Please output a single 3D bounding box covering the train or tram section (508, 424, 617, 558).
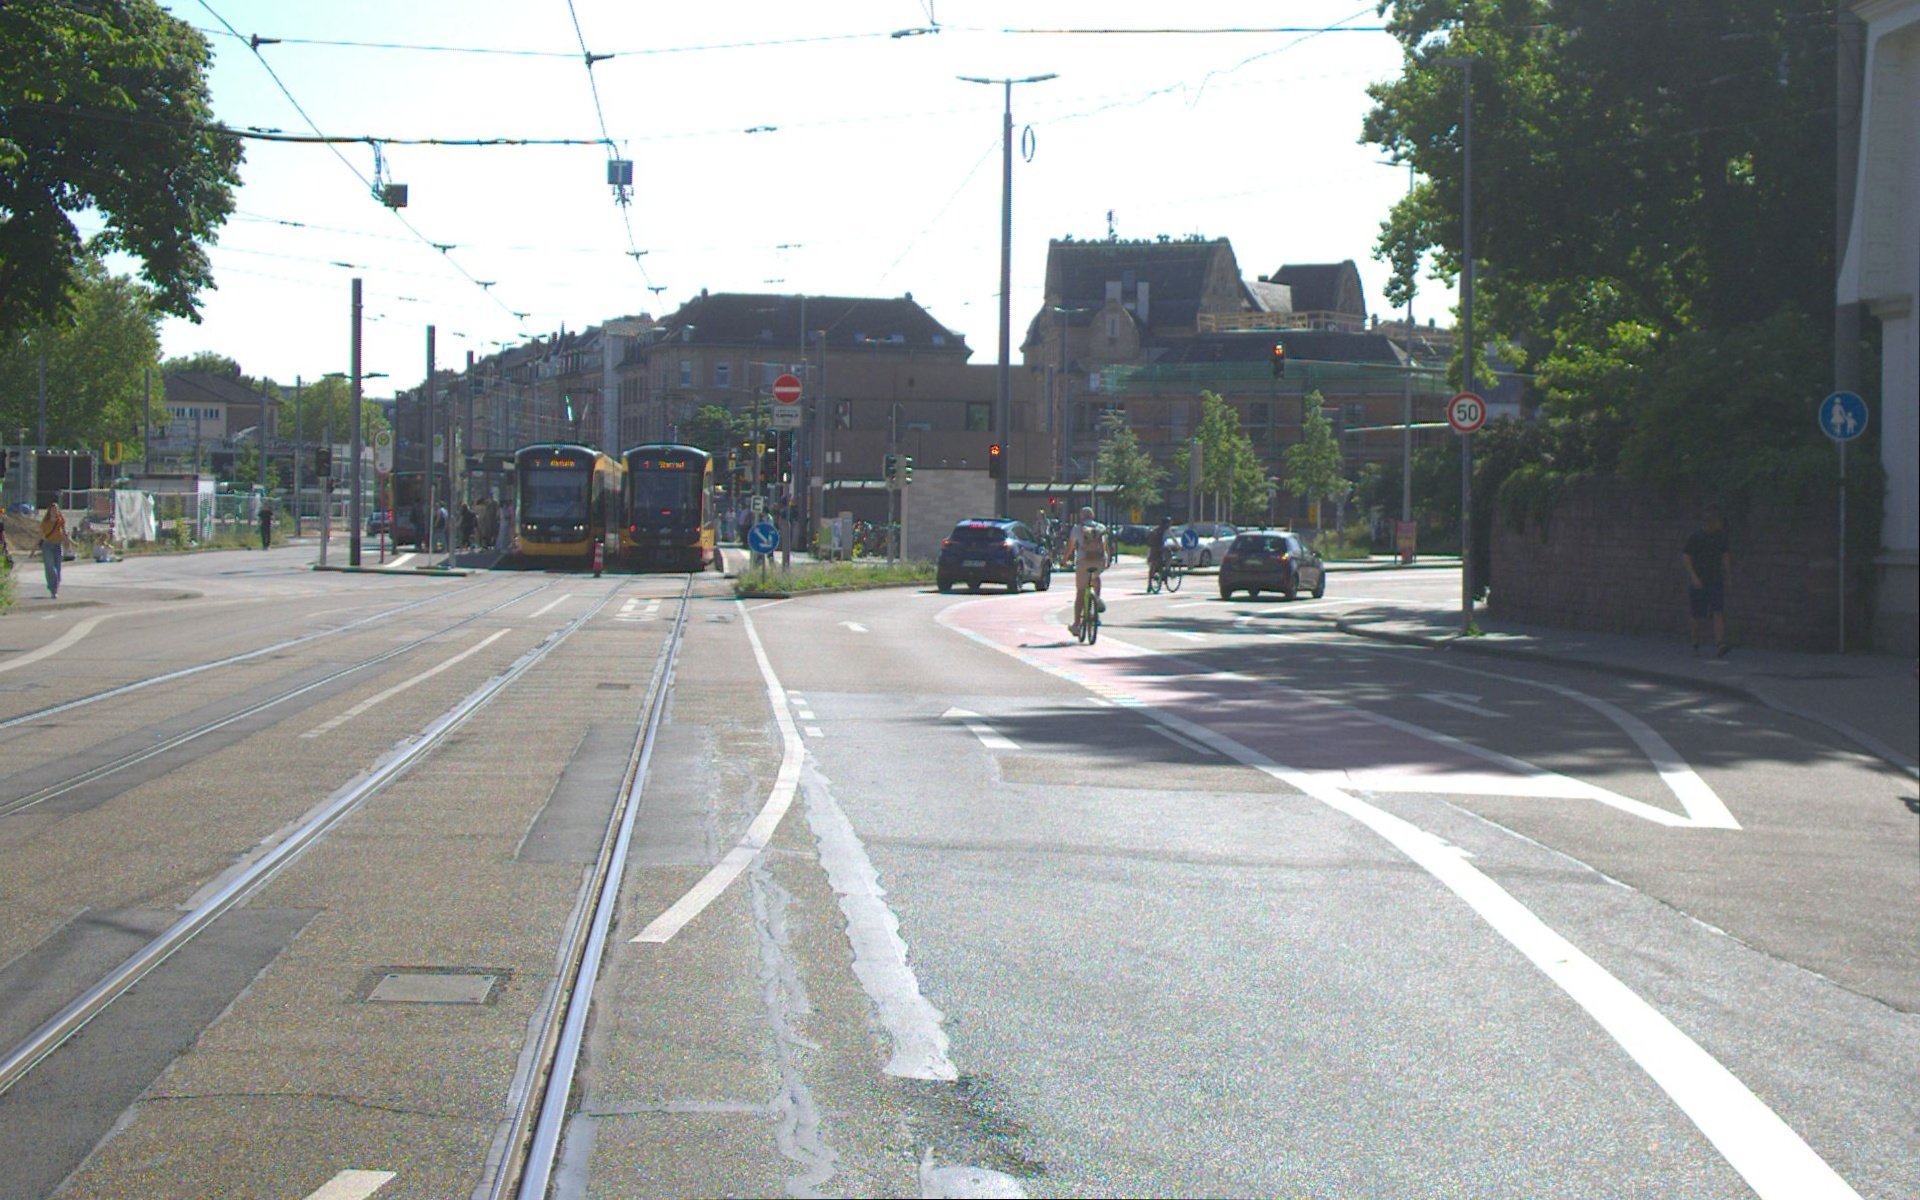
[{"bbox_3d":[-11.601,-3.264,101.291,2.741,3.638,13.789,1,2,-5],"label":"train or tram section"}]

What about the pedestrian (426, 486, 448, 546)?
[{"bbox_3d":[-16.103,-2.580,105.869,0.626,1.821,0.662,1,1,-5],"label":"pedestrian"}]

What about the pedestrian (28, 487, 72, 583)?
[{"bbox_3d":[-16.279,-1.171,61.491,0.635,1.691,0.819,-1,2,-23],"label":"pedestrian"}]

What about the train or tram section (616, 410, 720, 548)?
[{"bbox_3d":[-8.389,-3.502,98.768,2.741,3.638,13.789,1,2,-5],"label":"train or tram section"}]

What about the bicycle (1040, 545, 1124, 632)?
[{"bbox_3d":[1.654,-0.169,46.347,0.705,1.101,1.716,3,2,16],"label":"bicycle"}]

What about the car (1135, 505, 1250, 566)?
[{"bbox_3d":[6.652,-1.828,98.025,1.704,1.638,3.706,3,2,31],"label":"car"}]

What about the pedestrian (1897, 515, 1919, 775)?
[{"bbox_3d":[6.735,0.293,23.181,0.606,1.740,0.718,-3,2,4],"label":"pedestrian"}]

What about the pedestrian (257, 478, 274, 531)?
[{"bbox_3d":[-26.572,-3.657,131.573,0.525,2.007,0.522,1,1,0],"label":"pedestrian"}]

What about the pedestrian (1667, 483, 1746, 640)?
[{"bbox_3d":[9.204,-0.484,42.416,0.637,1.897,1.135,-1,2,-3],"label":"pedestrian"}]

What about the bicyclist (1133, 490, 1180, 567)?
[{"bbox_3d":[4.475,-1.626,78.208,0.705,1.694,0.986,4,3,21],"label":"bicyclist"}]

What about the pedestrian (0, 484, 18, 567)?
[{"bbox_3d":[-19.750,-1.544,70.649,0.618,1.691,0.679,1,2,-3],"label":"pedestrian"}]

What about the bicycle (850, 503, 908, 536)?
[{"bbox_3d":[-2.779,-2.759,118.214,1.933,1.099,0.599,1,2,-6],"label":"bicycle"}]

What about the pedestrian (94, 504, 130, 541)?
[{"bbox_3d":[-24.263,-2.226,98.339,0.897,1.043,0.655,1,2,-3],"label":"pedestrian"}]

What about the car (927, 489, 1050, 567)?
[{"bbox_3d":[0.658,-1.587,75.354,1.790,1.599,3.710,3,2,15],"label":"car"}]

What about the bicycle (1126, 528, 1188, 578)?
[{"bbox_3d":[4.495,-1.079,78.363,0.705,1.051,2.311,4,3,21],"label":"bicycle"}]

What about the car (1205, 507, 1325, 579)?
[{"bbox_3d":[6.836,-1.289,76.880,1.791,1.506,3.709,3,2,19],"label":"car"}]

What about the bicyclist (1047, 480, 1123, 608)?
[{"bbox_3d":[1.688,-0.761,46.354,0.705,1.669,1.100,3,2,16],"label":"bicyclist"}]

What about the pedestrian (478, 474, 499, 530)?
[{"bbox_3d":[-15.464,-3.209,112.671,0.626,1.821,0.662,1,1,-5],"label":"pedestrian"}]

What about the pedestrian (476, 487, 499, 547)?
[{"bbox_3d":[-14.357,-2.518,104.447,0.626,1.821,0.662,1,1,-5],"label":"pedestrian"}]
